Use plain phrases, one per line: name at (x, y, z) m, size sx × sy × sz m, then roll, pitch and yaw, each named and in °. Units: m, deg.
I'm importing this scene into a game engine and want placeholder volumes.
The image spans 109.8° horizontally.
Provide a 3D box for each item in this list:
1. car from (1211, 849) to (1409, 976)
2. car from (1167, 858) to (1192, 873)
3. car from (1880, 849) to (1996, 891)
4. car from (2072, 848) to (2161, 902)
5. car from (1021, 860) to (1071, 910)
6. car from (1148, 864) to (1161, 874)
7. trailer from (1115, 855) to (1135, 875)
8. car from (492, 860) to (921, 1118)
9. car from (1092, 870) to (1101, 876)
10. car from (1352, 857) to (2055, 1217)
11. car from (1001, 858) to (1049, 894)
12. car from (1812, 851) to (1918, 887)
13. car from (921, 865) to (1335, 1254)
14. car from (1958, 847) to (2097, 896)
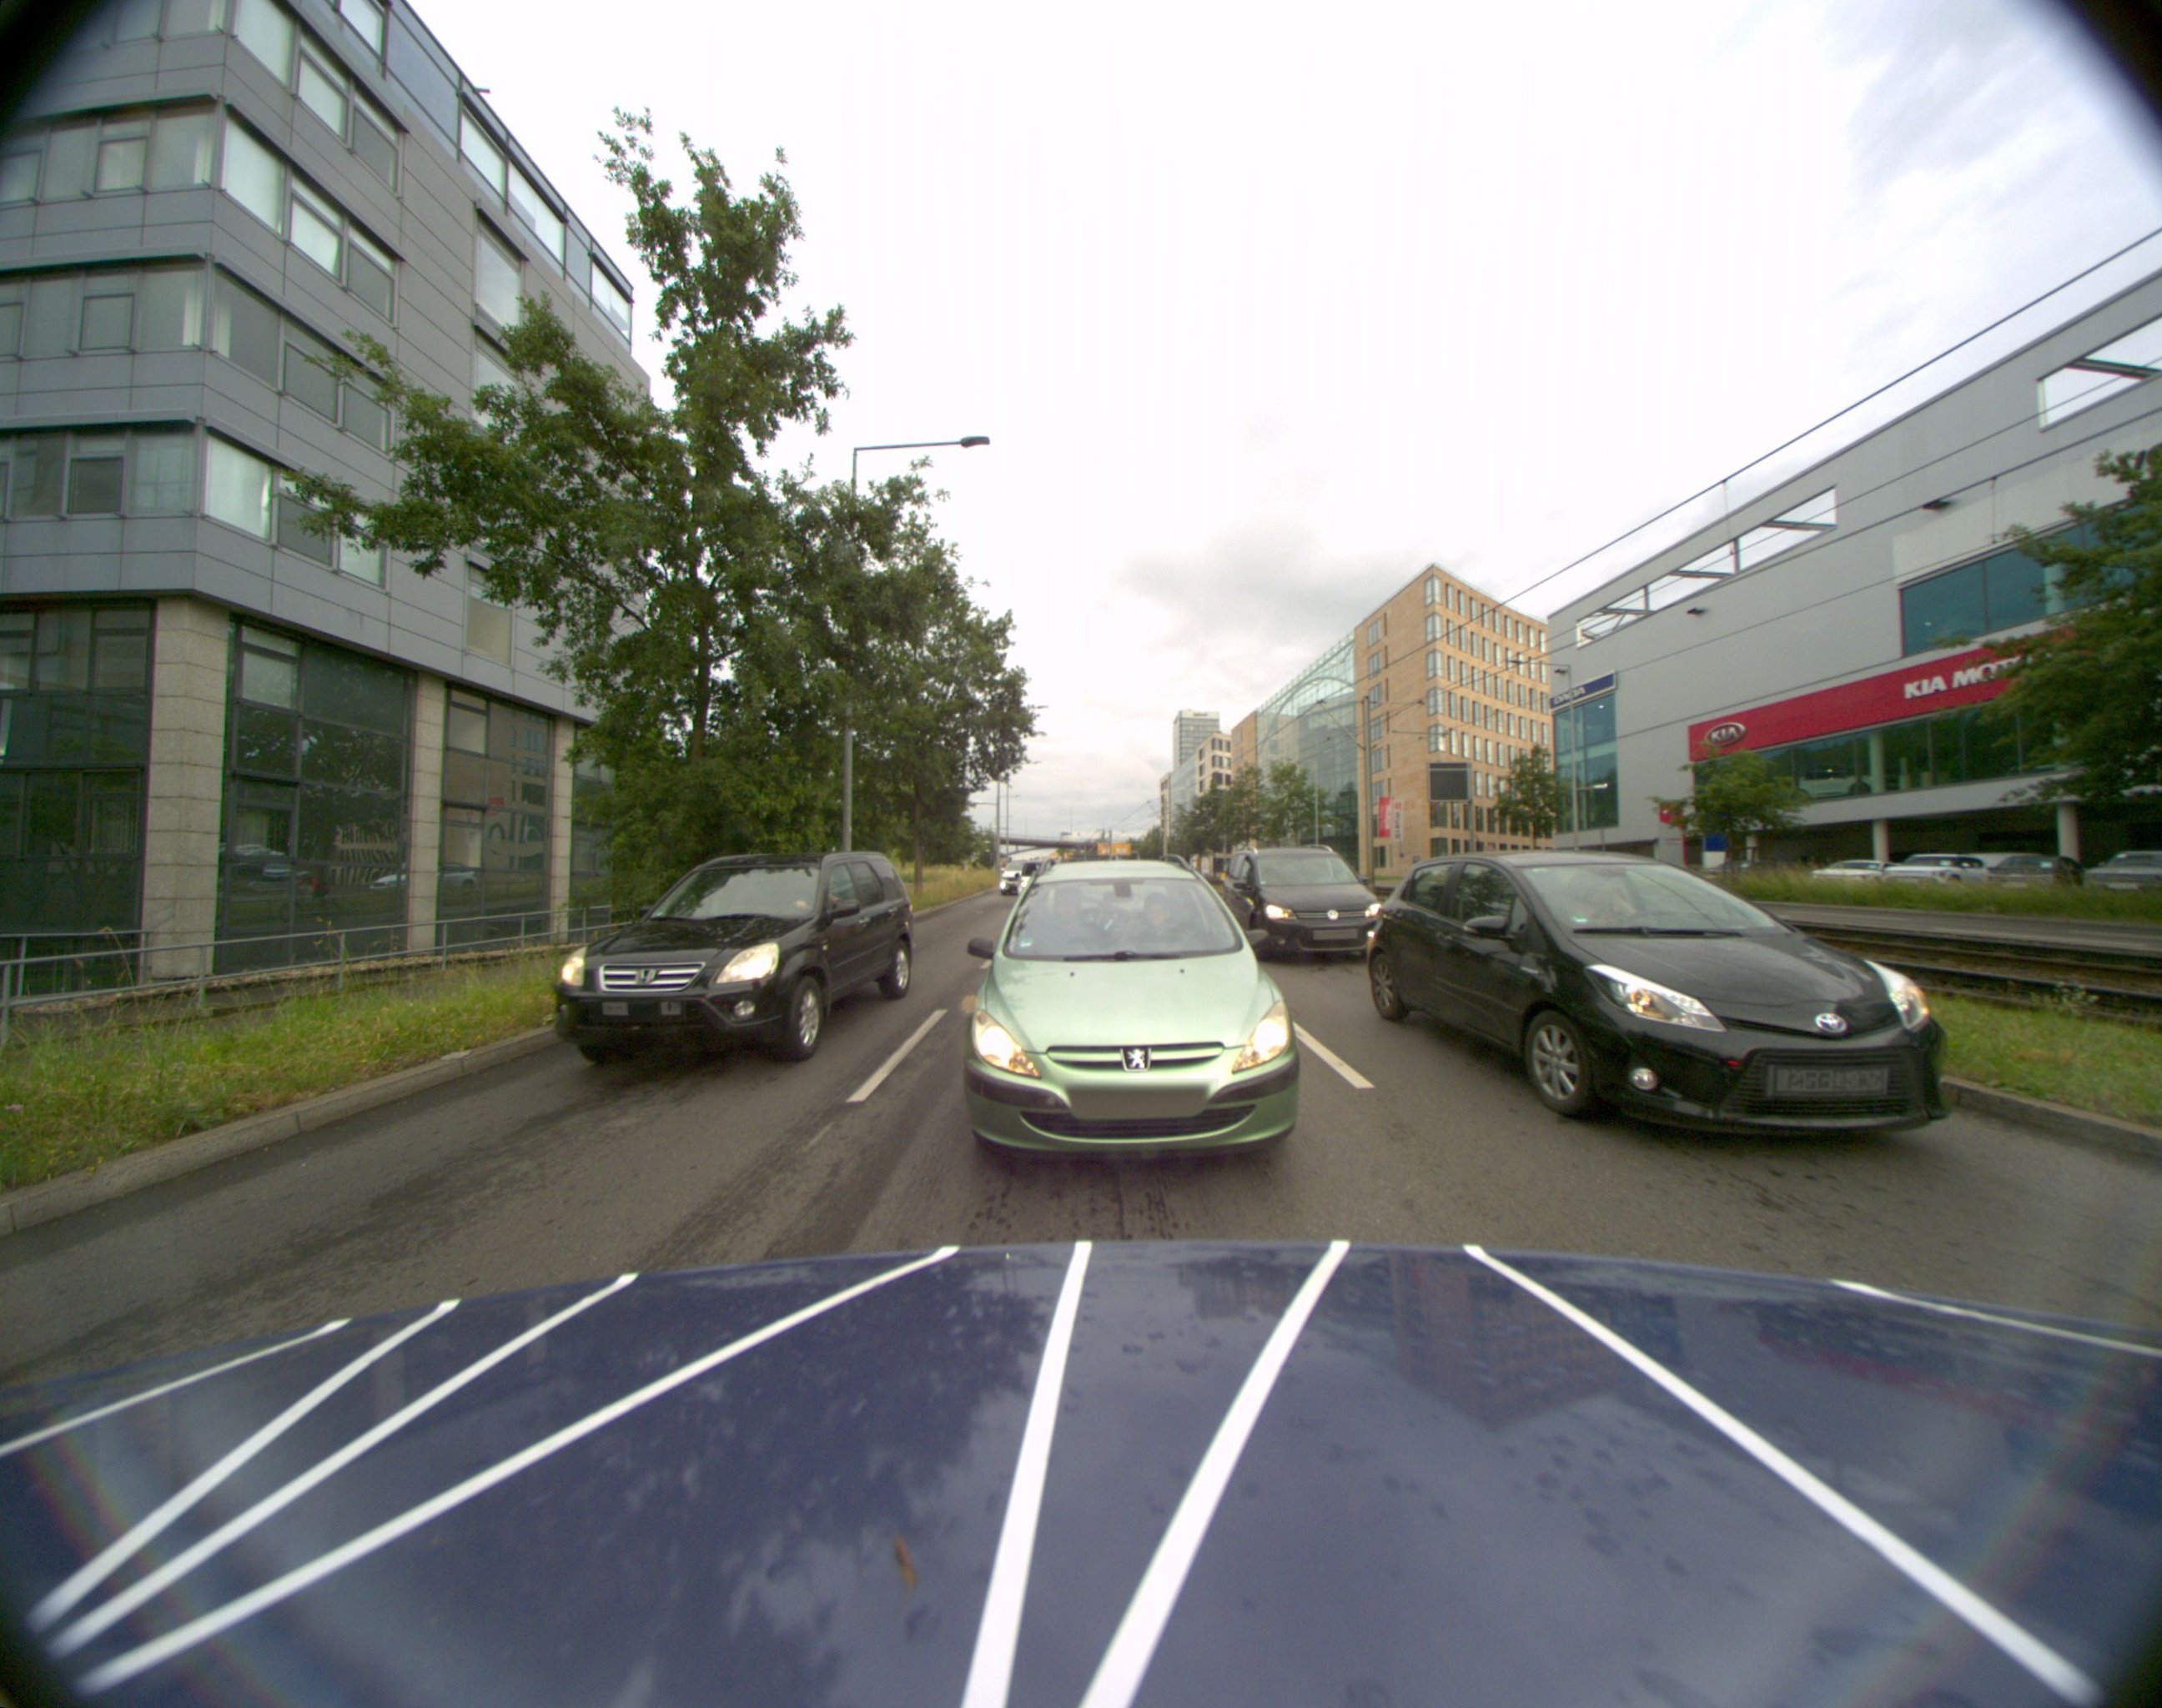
car at (3.316, 0.750, 11.930) m, size 1.786 × 1.597 × 4.317 m, roll -1°, pitch 0°, yaw 0°
car at (11.819, 1.354, 91.336) m, size 1.999 × 1.709 × 4.839 m, roll 1°, pitch 0°, yaw -4°
car at (31.771, 0.563, 28.172) m, size 3.668 × 1.287 × 1.696 m, roll -4°, pitch 1°, yaw -22°
car at (32.028, 0.591, 22.869) m, size 3.528 × 1.344 × 1.696 m, roll -4°, pitch 1°, yaw -20°
car at (-1.190, 0.978, 25.100) m, size 1.518 × 1.495 × 3.167 m, roll -1°, pitch 0°, yaw -4°
car at (12.703, 2.574, 131.032) m, size 1.588 × 1.504 × 4.101 m, roll 1°, pitch 0°, yaw -3°
trailer at (9.927, 2.439, 173.783) m, size 3.143 × 4.304 × 13.277 m, roll 2°, pitch 0°, yaw -3°
car at (-2.957, 0.926, 7.223) m, size 1.758 × 1.649 × 4.338 m, roll -1°, pitch 0°, yaw 2°
car at (4.136, 5.086, 203.167) m, size 1.655 × 1.428 × 3.876 m, roll -2°, pitch 1°, yaw -7°
car at (3.434, 0.813, 5.262) m, size 1.704 × 1.523 × 3.826 m, roll -1°, pitch 0°, yaw -1°
car at (-2.492, 0.962, 34.512) m, size 1.828 × 1.495 × 3.766 m, roll -1°, pitch 0°, yaw 1°
car at (31.749, 0.579, 30.777) m, size 3.668 × 1.181 × 1.696 m, roll -4°, pitch 1°, yaw -22°
car at (0.182, 0.890, 5.367) m, size 1.704 × 1.523 × 4.370 m, roll -1°, pitch 0°, yaw -1°
car at (31.610, 0.571, 25.391) m, size 3.528 × 1.344 × 1.696 m, roll -4°, pitch 1°, yaw -17°
